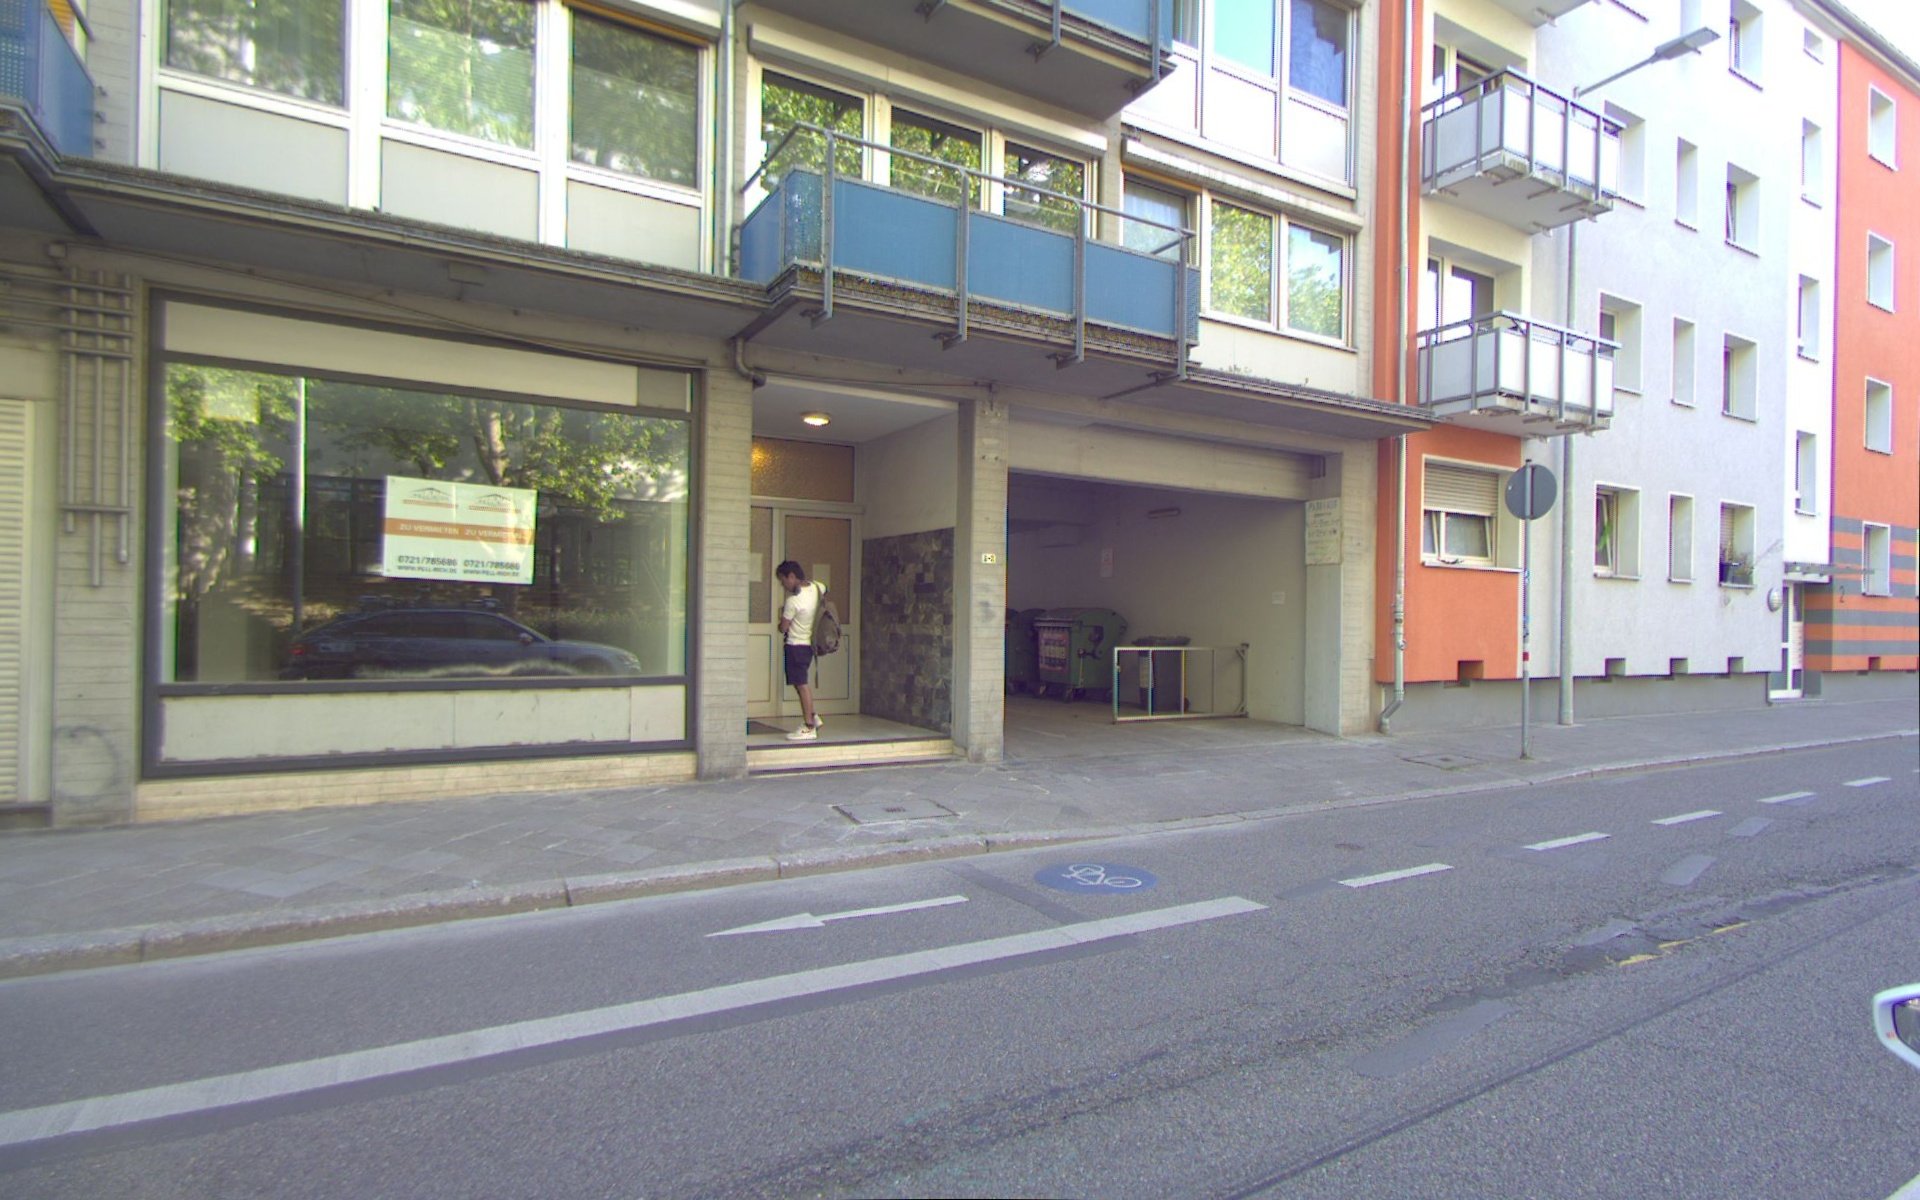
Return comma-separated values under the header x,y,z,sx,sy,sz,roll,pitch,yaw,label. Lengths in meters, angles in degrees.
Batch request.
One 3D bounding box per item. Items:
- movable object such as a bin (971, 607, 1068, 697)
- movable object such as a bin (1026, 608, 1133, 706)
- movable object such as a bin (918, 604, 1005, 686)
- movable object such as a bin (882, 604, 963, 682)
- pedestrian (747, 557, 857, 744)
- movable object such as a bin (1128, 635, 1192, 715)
x,y,z,sx,sy,sz,roll,pitch,yaw,label
0.999,0.859,17.150,1.120,1.444,1.268,2,0,-28,movable object such as a bin
1.866,0.867,15.809,1.120,1.444,1.268,2,0,-28,movable object such as a bin
0.020,0.824,18.694,1.120,1.444,1.268,2,0,-28,movable object such as a bin
-0.751,0.827,19.785,1.120,1.444,1.268,2,0,-28,movable object such as a bin
-1.446,0.447,9.342,0.820,1.639,0.794,2,0,3,pedestrian
2.878,1.067,14.485,0.713,1.094,0.533,2,0,-29,movable object such as a bin
